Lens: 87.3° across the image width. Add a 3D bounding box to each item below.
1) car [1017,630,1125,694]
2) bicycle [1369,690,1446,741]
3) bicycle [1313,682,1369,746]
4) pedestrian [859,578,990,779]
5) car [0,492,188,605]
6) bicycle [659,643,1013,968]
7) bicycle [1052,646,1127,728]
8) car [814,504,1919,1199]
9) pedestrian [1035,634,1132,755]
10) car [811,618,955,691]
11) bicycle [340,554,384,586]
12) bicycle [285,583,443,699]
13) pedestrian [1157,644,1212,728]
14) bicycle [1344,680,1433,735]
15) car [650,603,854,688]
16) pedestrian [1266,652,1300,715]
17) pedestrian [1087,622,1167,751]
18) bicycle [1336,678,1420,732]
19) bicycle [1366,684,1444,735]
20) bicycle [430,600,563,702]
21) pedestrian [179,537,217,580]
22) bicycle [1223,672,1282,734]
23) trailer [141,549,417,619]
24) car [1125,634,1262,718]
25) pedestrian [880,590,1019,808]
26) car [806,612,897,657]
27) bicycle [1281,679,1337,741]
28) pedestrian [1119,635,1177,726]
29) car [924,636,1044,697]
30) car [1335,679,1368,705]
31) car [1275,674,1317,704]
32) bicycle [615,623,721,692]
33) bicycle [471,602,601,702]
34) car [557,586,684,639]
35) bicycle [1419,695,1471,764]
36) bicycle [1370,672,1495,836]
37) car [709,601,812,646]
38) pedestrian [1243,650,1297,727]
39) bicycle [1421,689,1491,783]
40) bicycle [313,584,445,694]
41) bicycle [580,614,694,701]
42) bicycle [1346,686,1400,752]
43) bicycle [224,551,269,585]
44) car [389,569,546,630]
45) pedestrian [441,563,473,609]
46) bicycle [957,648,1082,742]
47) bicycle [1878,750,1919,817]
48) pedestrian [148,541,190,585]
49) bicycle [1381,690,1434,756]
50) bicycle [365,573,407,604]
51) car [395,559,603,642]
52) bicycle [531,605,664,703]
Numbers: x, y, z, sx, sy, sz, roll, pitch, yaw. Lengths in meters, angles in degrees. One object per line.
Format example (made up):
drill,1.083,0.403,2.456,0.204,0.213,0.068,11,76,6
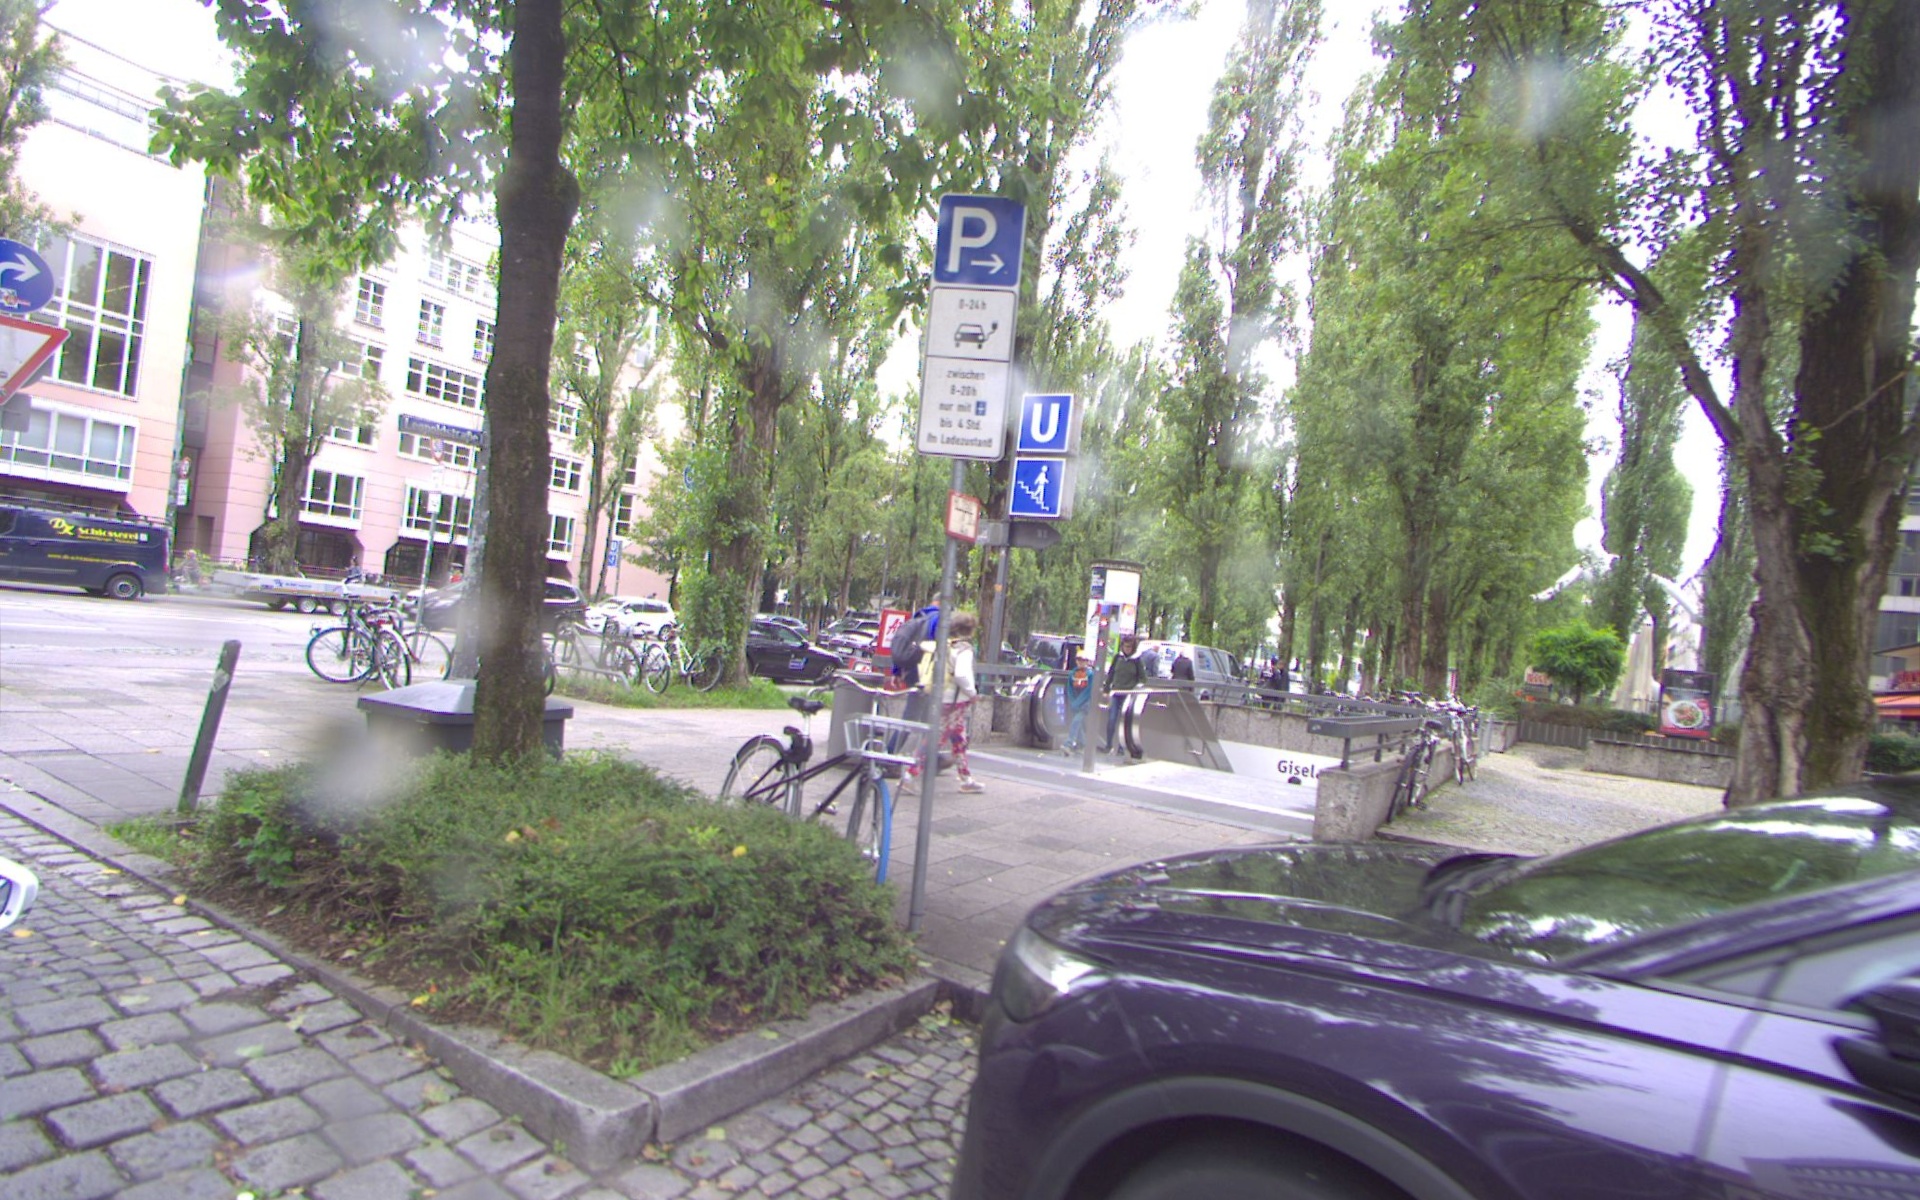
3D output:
car,4.181,2.337,37.164,1.885,1.947,5.033,7,-1,30
bicycle,12.743,3.284,28.651,1.840,1.173,0.586,6,-1,34
bicycle,7.746,2.306,20.400,0.578,1.173,1.866,6,-2,33
pedestrian,-0.318,0.713,9.216,0.655,1.716,0.802,6,-1,42
car,-22.032,-1.309,23.806,1.991,2.223,5.487,6,-2,32
bicycle,-0.675,0.880,4.864,1.850,1.150,0.474,5,-1,41
bicycle,2.100,1.391,16.110,0.577,1.173,1.869,6,-2,23
car,2.019,0.939,1.692,4.131,1.720,1.925,6,-2,30
pedestrian,1.600,1.220,13.041,0.765,1.436,0.809,7,-1,-42
car,-1.986,1.501,27.091,1.720,1.544,3.900,7,-2,33
bicycle,-25.483,-1.278,42.865,2.073,1.138,0.674,6,-1,33
bicycle,-6.487,0.428,10.916,1.844,1.063,0.475,5,-1,27
pedestrian,4.665,1.788,20.889,0.688,1.625,0.831,6,-1,37
bicycle,11.373,2.833,26.715,2.000,1.173,0.586,5,-1,34
car,-4.595,1.088,22.875,1.729,1.444,4.437,7,-2,36
pedestrian,10.150,2.625,31.621,0.689,1.862,0.704,6,-1,35
pedestrian,2.366,1.225,14.251,0.686,1.721,0.656,7,-1,-42
bicycle,10.880,2.727,26.213,1.840,1.173,0.586,5,-1,34
bicycle,12.445,3.065,28.164,1.840,1.173,0.586,5,-1,34
bicycle,-5.625,0.600,12.165,1.847,1.063,0.475,4,-2,34
pedestrian,-26.579,-1.441,35.098,0.698,1.385,0.730,6,-1,33
bicycle,6.082,2.136,20.865,0.578,1.173,1.866,6,-2,33
trailer,-19.188,-0.387,28.716,2.366,1.213,6.027,6,-2,33
car,6.535,2.157,27.661,1.786,1.918,5.192,6,-2,34
pedestrian,-0.081,0.826,8.501,0.602,1.700,0.842,6,-1,41
car,-5.401,1.779,50.735,1.967,1.818,4.754,6,-2,31
bicycle,7.220,2.268,20.760,0.578,1.173,1.866,6,-2,33
pedestrian,3.994,1.722,21.404,0.739,1.824,0.840,6,-1,37
car,0.824,2.118,31.394,1.719,1.544,4.228,7,-2,32
car,32.091,7.529,82.460,1.719,1.808,3.946,7,-1,30
car,22.100,5.832,66.079,1.719,1.662,3.946,7,-1,30
bicycle,-4.349,0.839,14.914,1.806,0.827,0.470,4,-2,37
bicycle,-5.305,0.634,12.544,1.847,1.063,0.475,4,-2,34
car,-12.944,0.521,38.661,1.966,1.560,4.320,6,-2,29
bicycle,9.184,2.432,19.016,0.578,1.173,1.866,6,-2,33
bicycle,4.452,1.391,9.404,0.710,1.291,1.866,6,-2,33
car,-8.887,1.087,45.101,1.968,1.560,4.316,6,-2,33
pedestrian,8.143,2.316,26.426,0.905,1.888,1.011,6,-1,37
bicycle,6.992,1.884,14.135,0.578,1.173,1.866,6,-2,33
bicycle,-6.781,0.434,11.704,1.846,1.063,0.475,6,-1,34
bicycle,-4.587,0.798,14.222,1.806,1.050,0.511,4,-2,37
bicycle,8.251,2.365,20.052,0.578,1.173,1.866,6,-2,33
bicycle,-27.994,-1.252,39.476,1.957,1.138,0.674,6,-1,33
car,-16.087,0.026,33.032,1.778,1.560,4.224,4,-3,34
pedestrian,-20.251,-0.569,40.491,0.698,1.734,0.730,6,-1,33
bicycle,0.859,1.356,14.097,0.580,1.173,1.860,5,-2,44
bicycle,19.016,3.616,19.071,2.209,1.169,0.647,5,-1,32
pedestrian,-27.025,-1.253,34.396,0.718,1.385,0.710,6,-1,3
bicycle,8.776,2.397,19.699,0.578,1.173,1.866,6,-2,33
bicycle,-25.059,-0.509,43.891,1.957,1.138,0.674,6,-1,33
car,-12.562,0.082,27.740,1.968,1.741,4.807,4,-3,33
bicycle,-4.863,0.710,13.451,1.899,1.118,0.512,5,-2,32
